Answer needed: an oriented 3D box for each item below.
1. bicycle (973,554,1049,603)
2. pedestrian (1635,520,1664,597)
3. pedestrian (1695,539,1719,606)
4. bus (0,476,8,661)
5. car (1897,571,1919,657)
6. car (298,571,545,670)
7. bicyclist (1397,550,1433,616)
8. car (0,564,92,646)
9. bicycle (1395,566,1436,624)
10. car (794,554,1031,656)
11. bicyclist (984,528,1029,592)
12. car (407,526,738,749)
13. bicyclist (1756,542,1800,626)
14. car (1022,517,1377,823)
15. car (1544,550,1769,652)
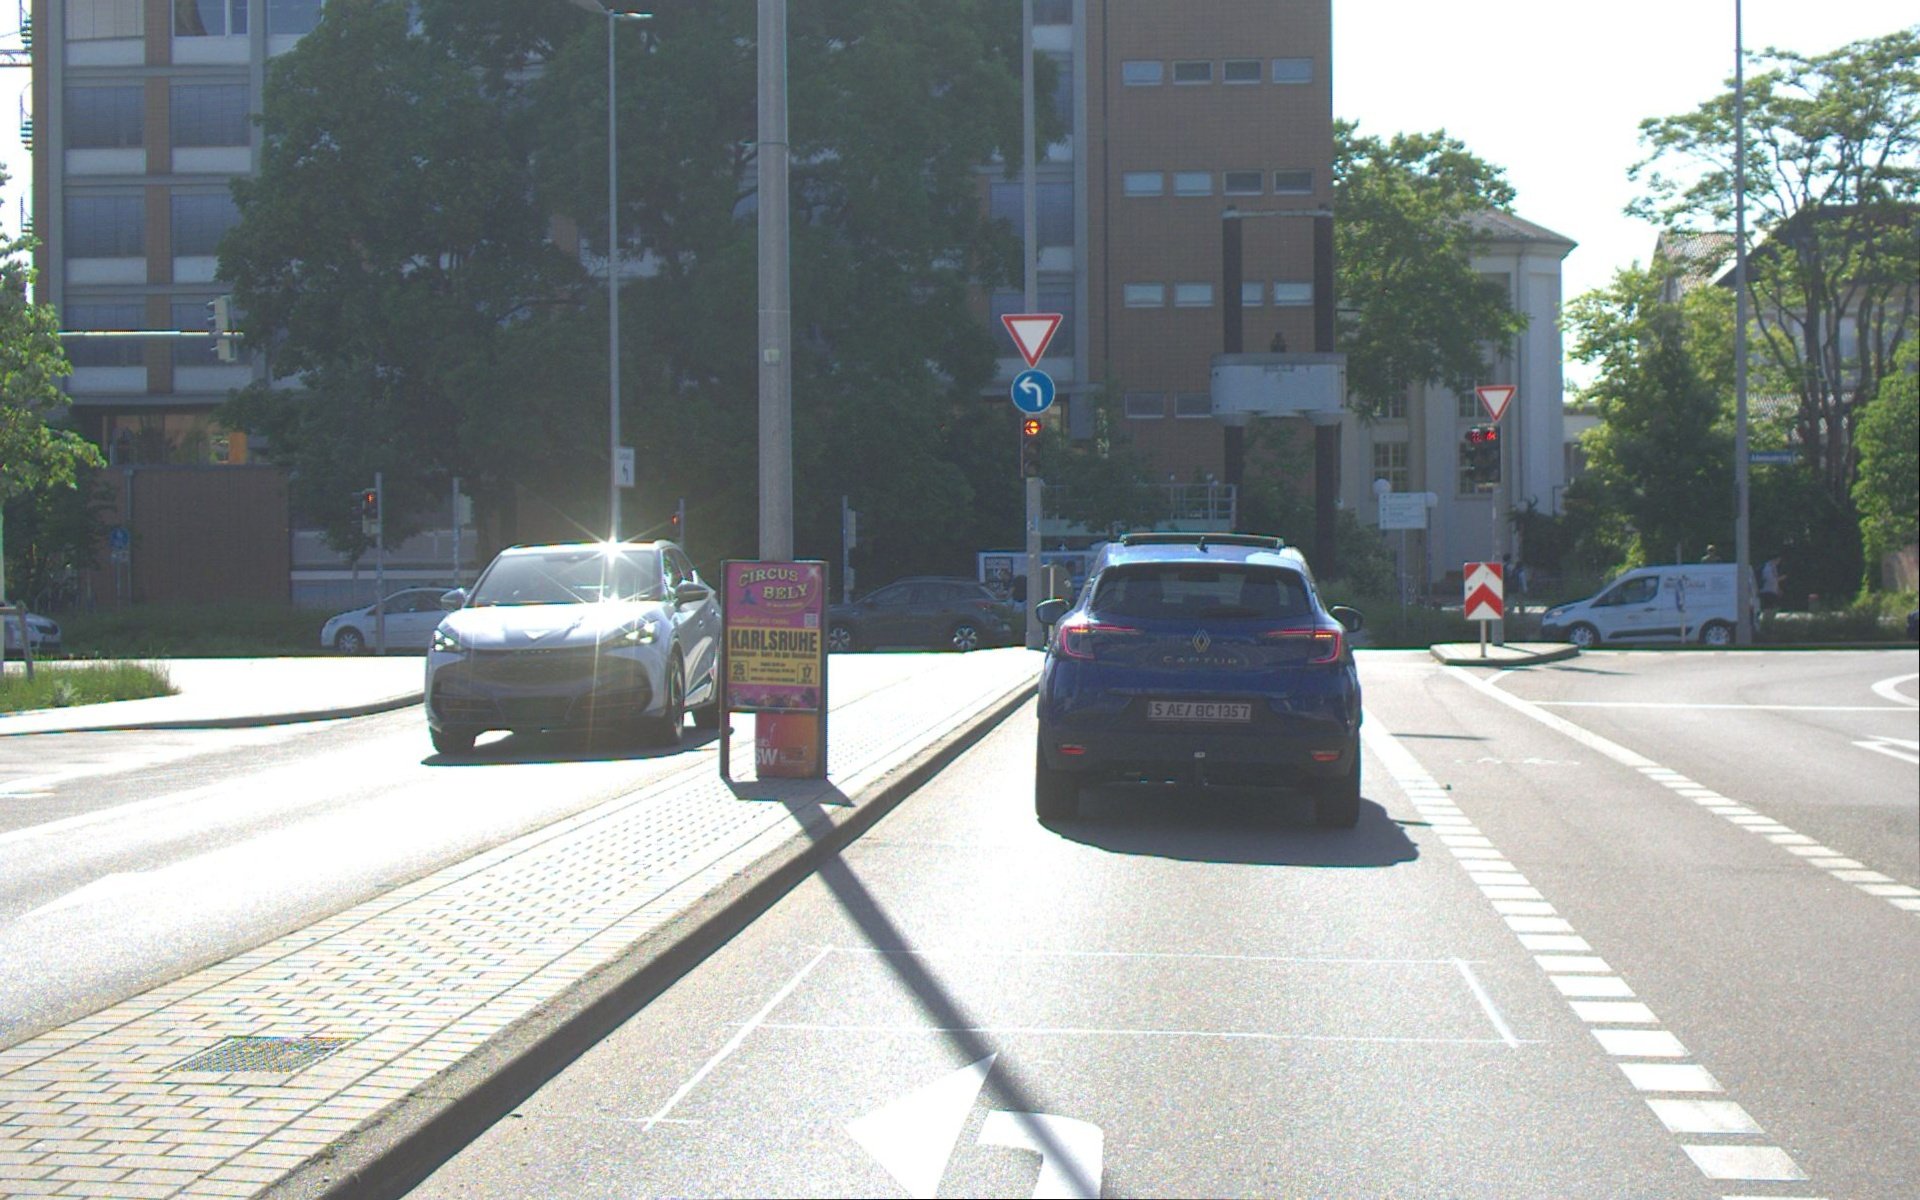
[{"bbox_3d":[1.167,-0.490,78.871,1.666,1.089,0.611,-1,1,-33],"label":"bicycle"},{"bbox_3d":[15.208,-0.912,75.824,0.561,1.664,0.476,0,-1,20],"label":"pedestrian"},{"bbox_3d":[18.818,-0.693,86.622,0.577,1.664,0.561,0,-1,15],"label":"pedestrian"},{"bbox_3d":[-23.752,-0.594,64.177,12.420,3.384,2.879,0,-1,23],"label":"bus"},{"bbox_3d":[19.556,0.275,63.898,4.118,1.581,1.878,0,-1,16],"label":"car"},{"bbox_3d":[-11.191,0.425,71.498,4.653,2.007,1.999,0,-1,12],"label":"car"},{"bbox_3d":[12.441,-0.456,93.982,0.881,1.791,1.161,0,-1,3],"label":"bicyclist"},{"bbox_3d":[-19.038,0.105,65.714,4.401,1.516,1.968,0,-1,22],"label":"car"},{"bbox_3d":[12.433,-0.130,93.984,0.881,1.536,2.810,0,-1,3],"label":"bicycle"},{"bbox_3d":[-0.944,0.109,69.041,4.375,2.007,1.999,0,-1,14],"label":"car"},{"bbox_3d":[1.066,-0.919,78.806,0.816,1.439,0.620,-1,1,-33],"label":"bicyclist"},{"bbox_3d":[-2.958,0.237,27.112,1.818,1.563,4.249,-2,1,4],"label":"car"},{"bbox_3d":[18.163,-0.350,76.324,0.857,1.840,0.850,0,-1,21],"label":"bicyclist"},{"bbox_3d":[1.310,0.366,20.149,1.823,1.594,3.659,1,0,1],"label":"car"},{"bbox_3d":[14.010,0.024,69.073,4.350,2.007,1.999,0,-1,14],"label":"car"}]
